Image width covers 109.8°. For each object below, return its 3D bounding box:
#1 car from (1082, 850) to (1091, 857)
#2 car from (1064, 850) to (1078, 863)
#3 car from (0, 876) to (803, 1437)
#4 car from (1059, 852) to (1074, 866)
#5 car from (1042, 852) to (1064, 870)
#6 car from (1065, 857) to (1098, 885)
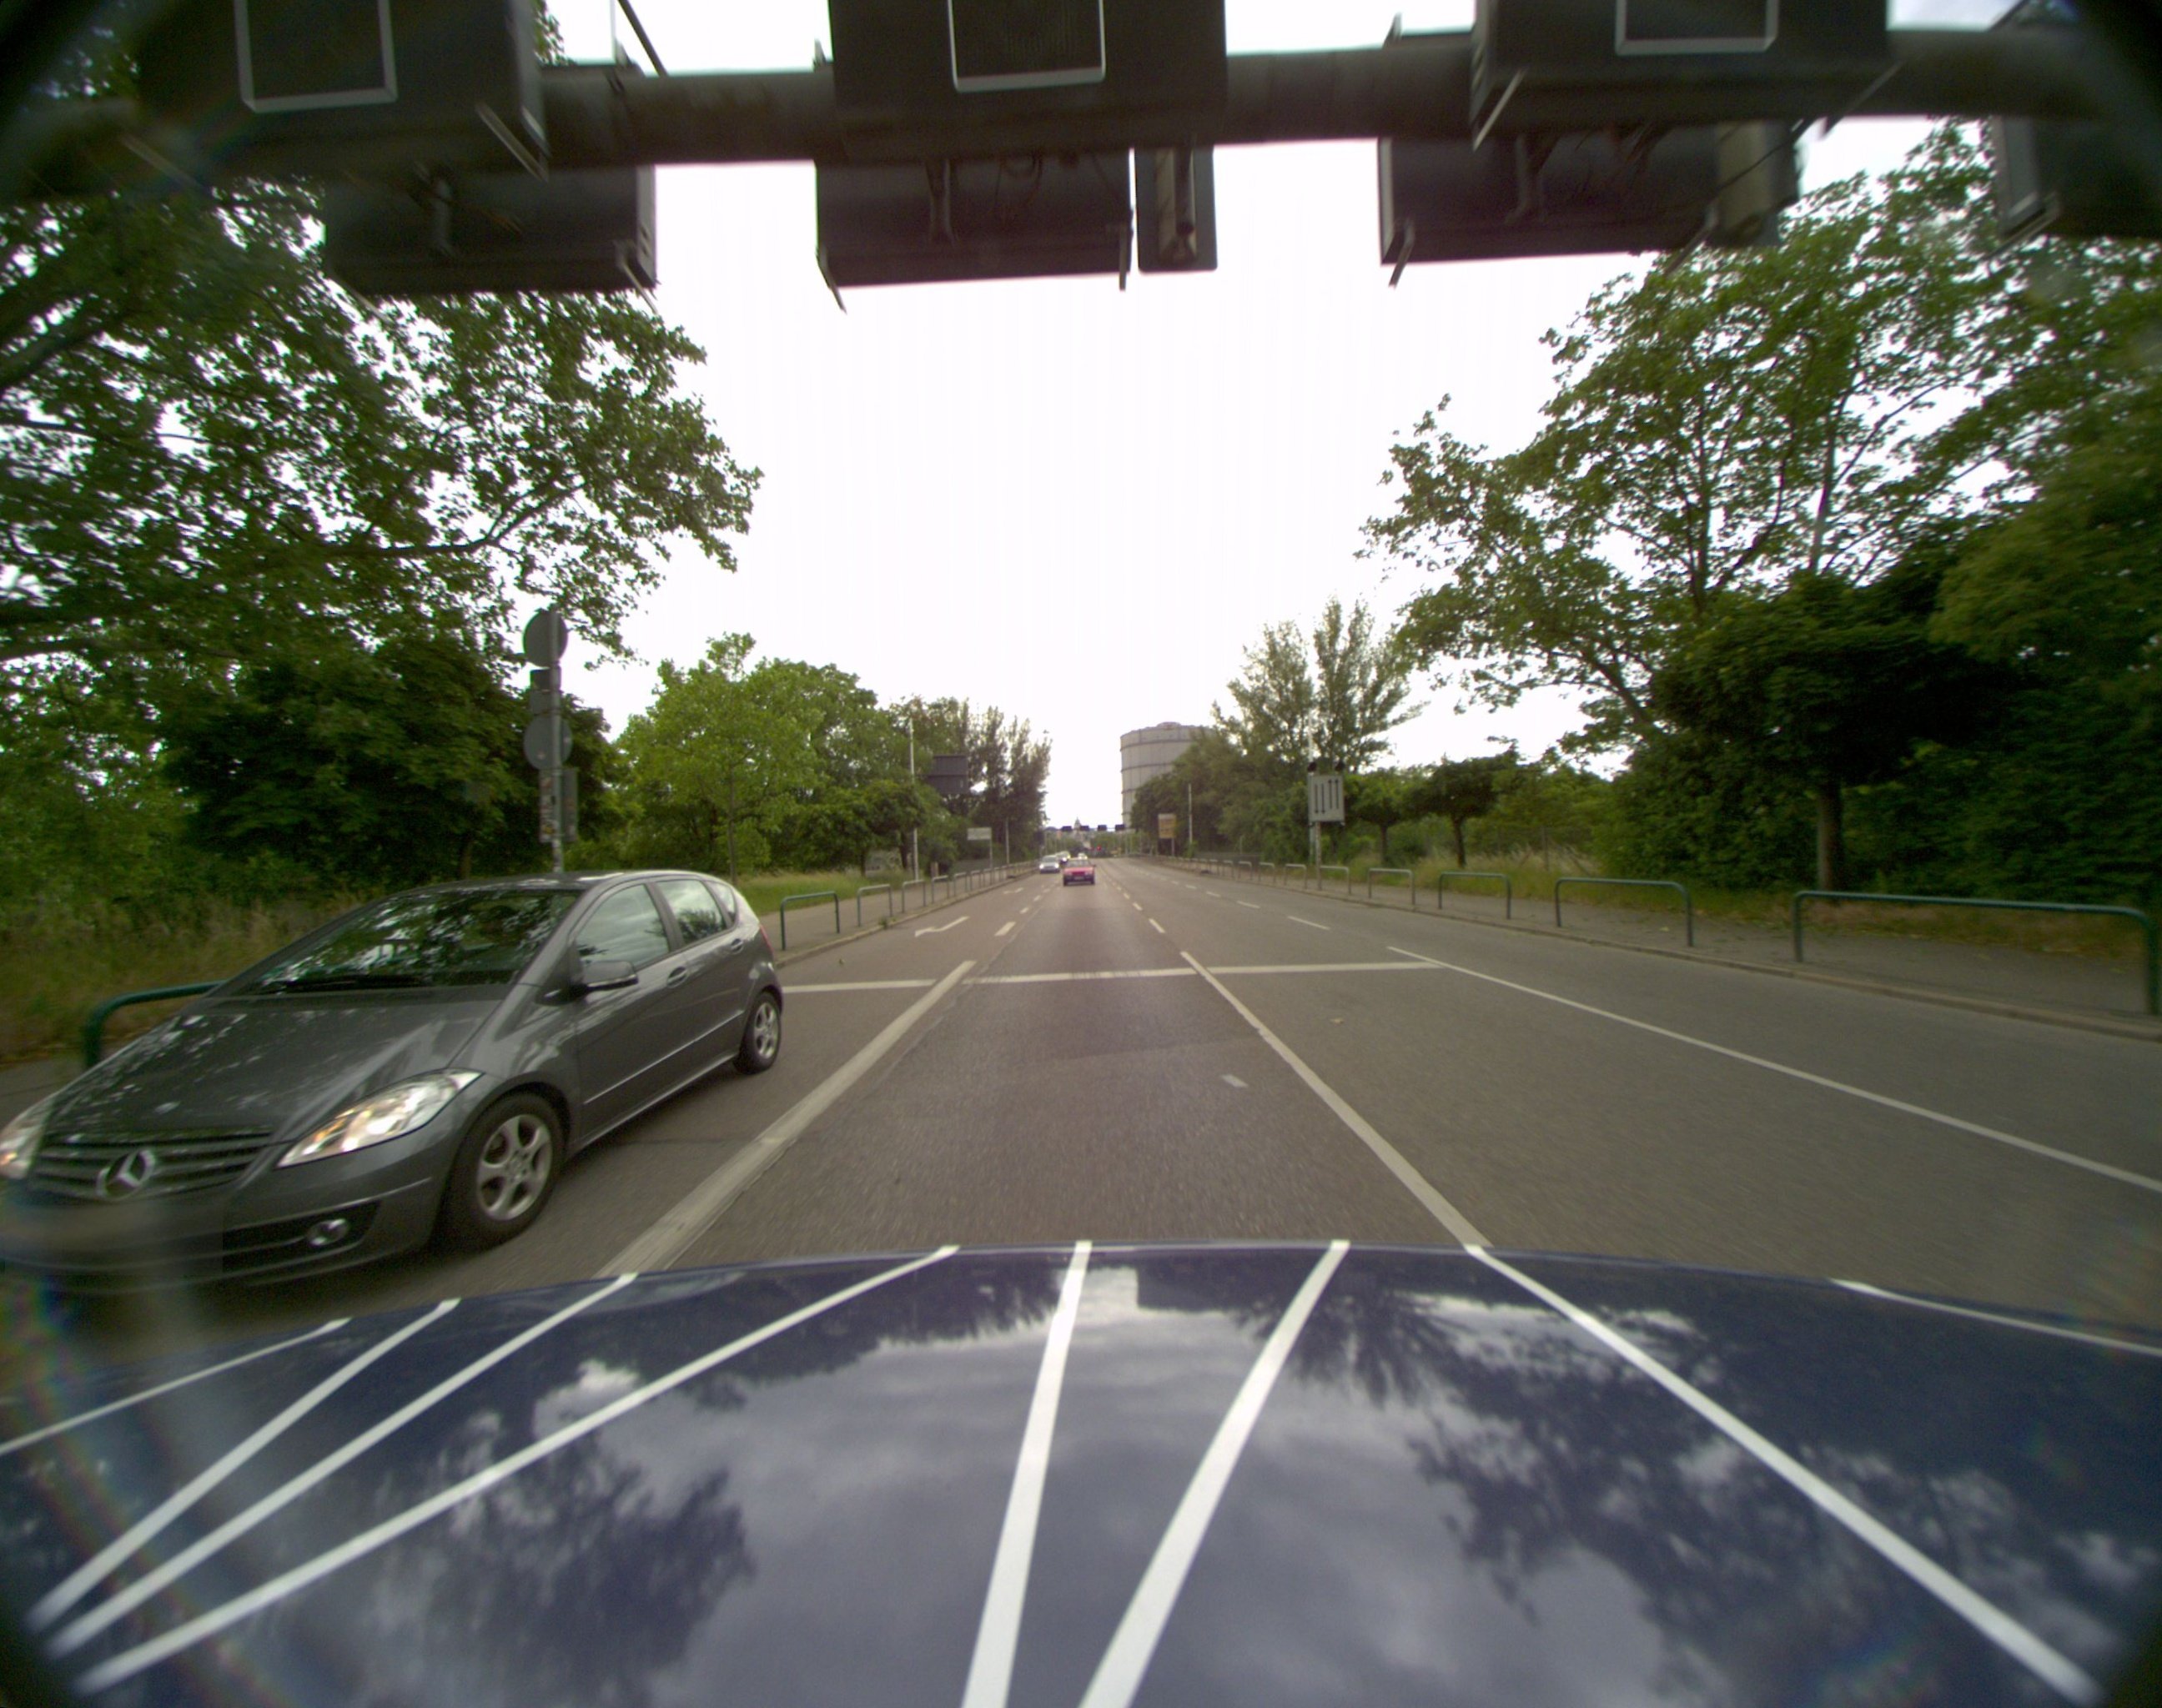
[{"bbox_3d":[1.417,-0.146,196.735,1.998,1.792,4.001,-4,0,4],"label":"car"},{"bbox_3d":[-1.497,0.402,116.584,1.998,1.775,4.001,-2,0,2],"label":"car"},{"bbox_3d":[-3.298,1.000,4.332,1.831,1.606,4.034,-2,-1,1],"label":"car"},{"bbox_3d":[-1.885,0.660,98.572,1.776,1.696,4.000,-3,0,0],"label":"car"},{"bbox_3d":[-2.539,0.648,69.653,1.771,1.565,4.000,-1,0,1],"label":"car"},{"bbox_3d":[0.025,0.893,41.024,1.696,1.434,4.000,0,0,0],"label":"car"}]
